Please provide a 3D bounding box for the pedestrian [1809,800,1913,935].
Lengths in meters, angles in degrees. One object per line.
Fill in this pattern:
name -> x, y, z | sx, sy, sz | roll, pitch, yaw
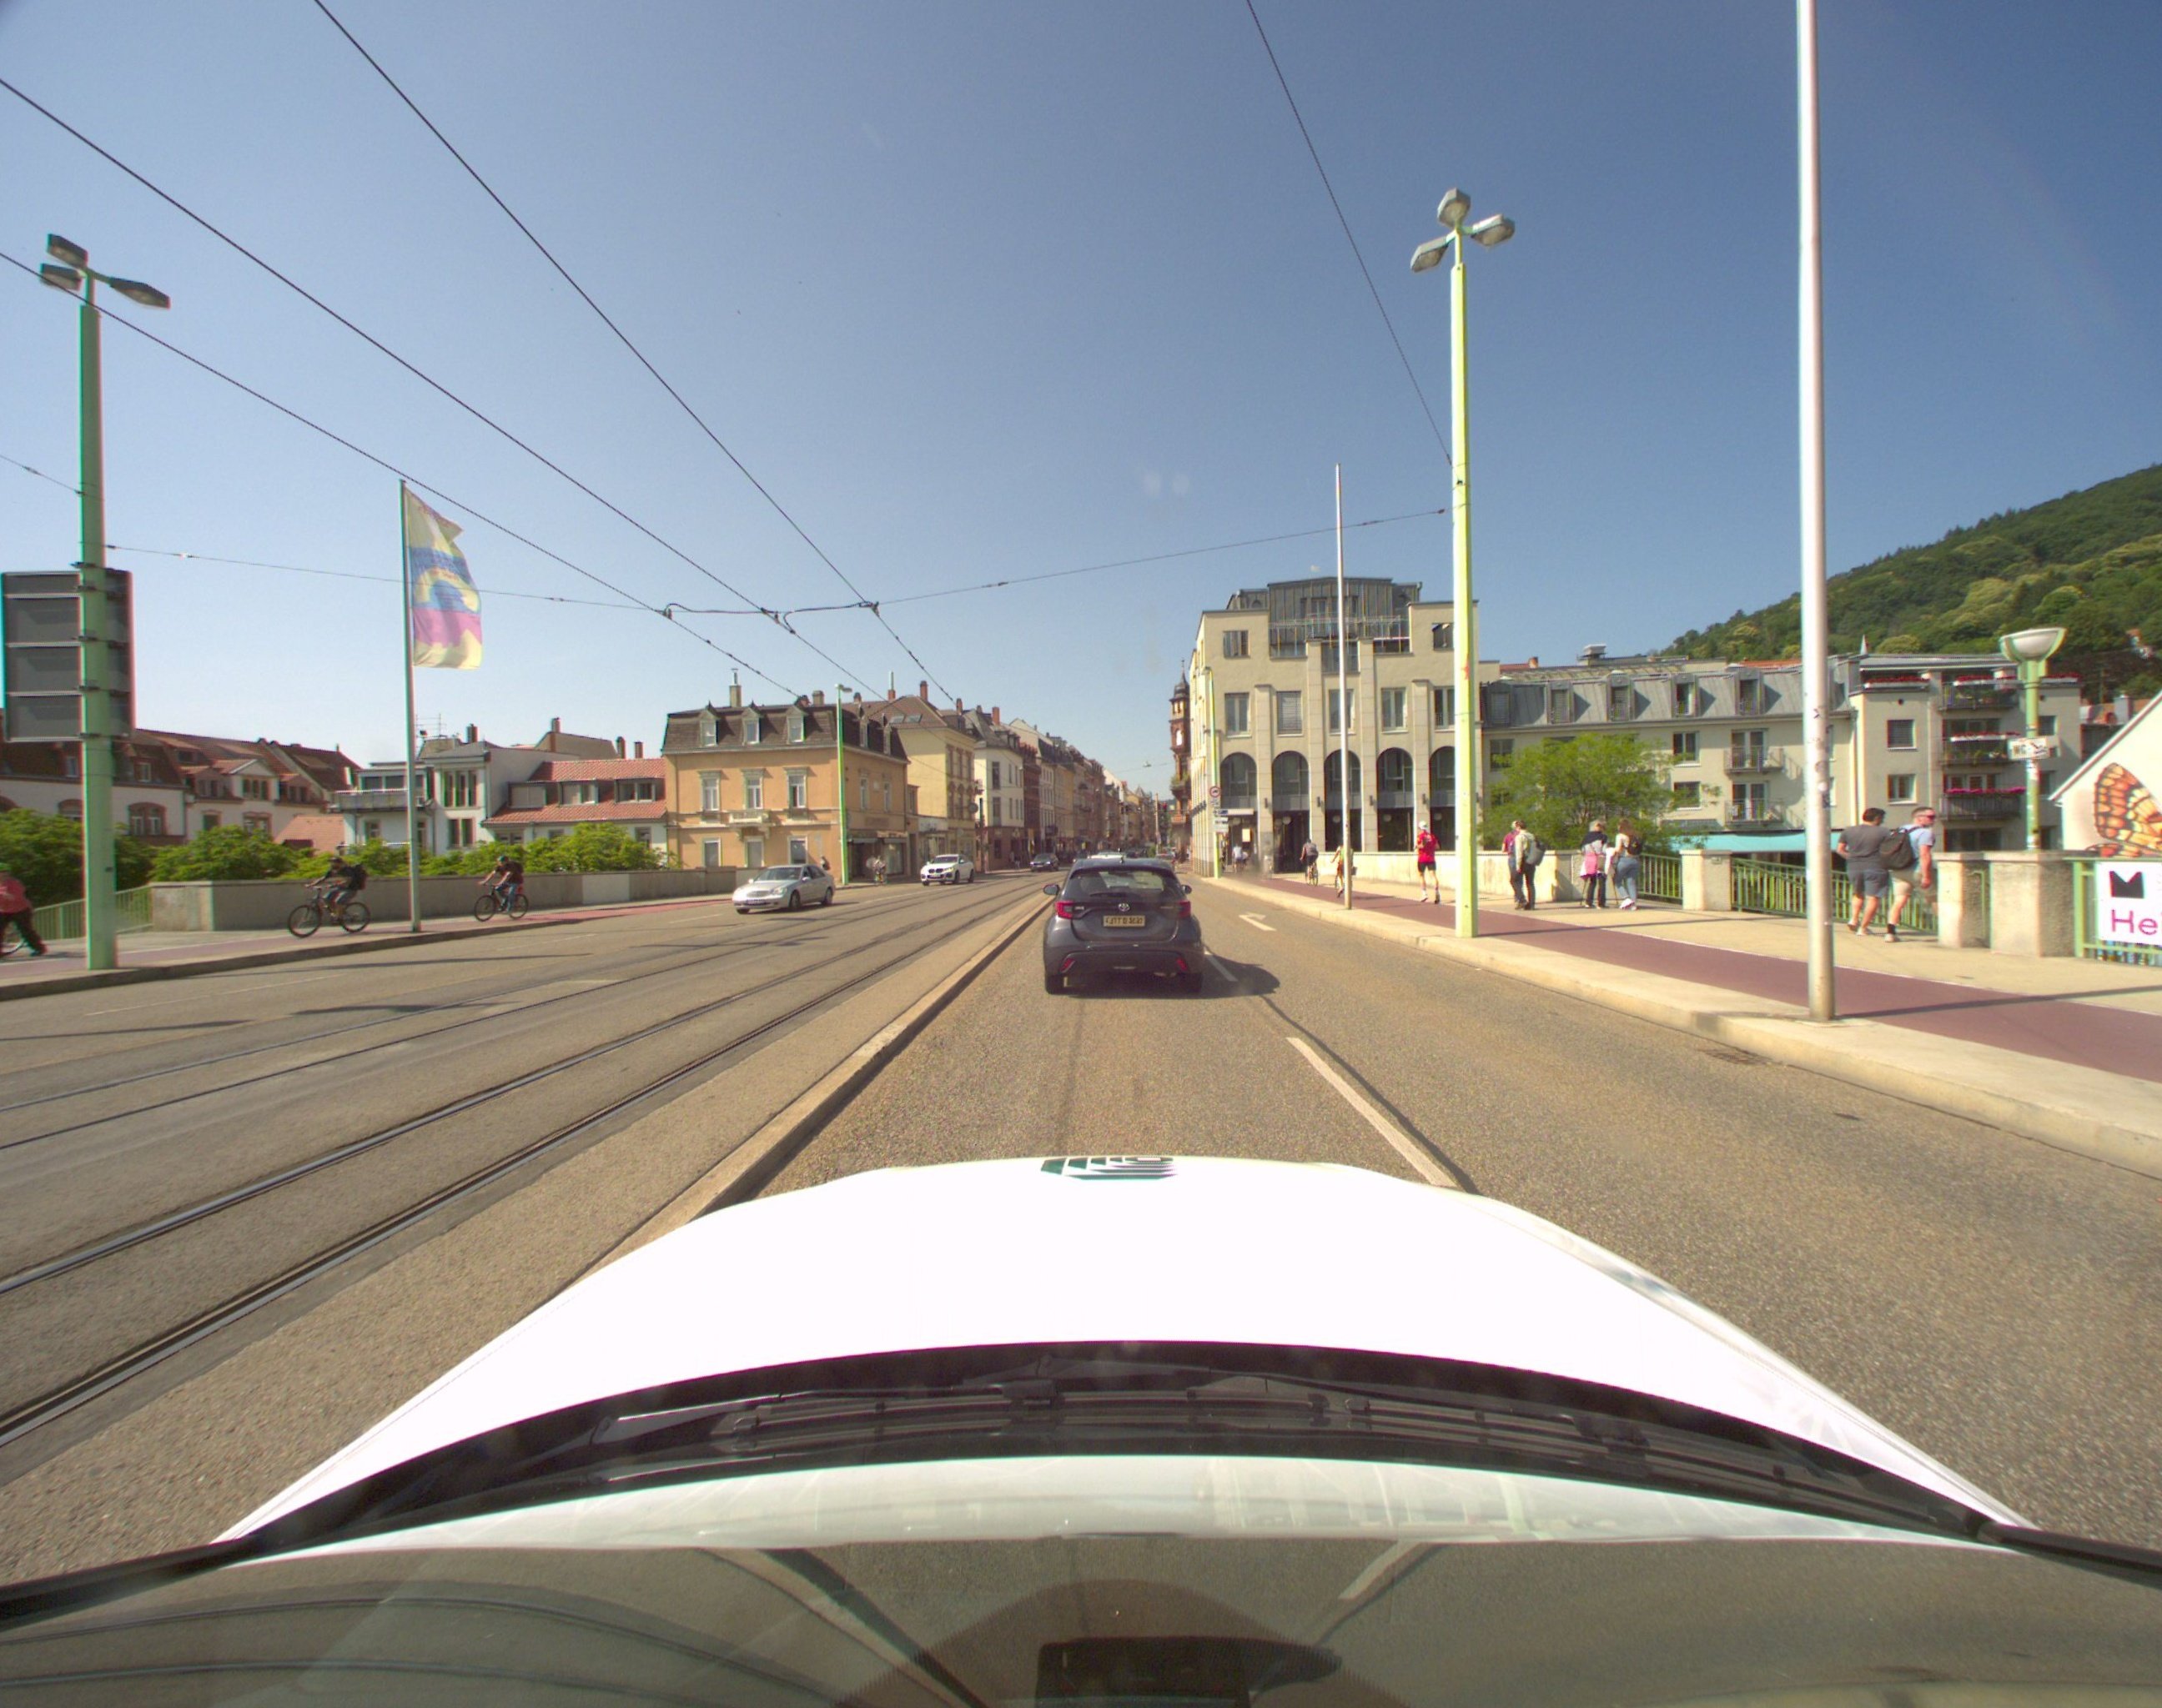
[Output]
pedestrian -> 10.556, 0.165, 11.019 | 1.019, 1.718, 0.734 | -3, 0, -32

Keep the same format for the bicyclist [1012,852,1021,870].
bicyclist -> -6.004, 0.625, 76.284 | 0.701, 1.650, 0.623 | 0, 1, 10

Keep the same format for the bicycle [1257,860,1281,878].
bicycle -> 8.463, 0.680, 36.729 | 0.592, 0.765, 1.866 | -2, 0, -1

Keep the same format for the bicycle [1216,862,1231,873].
bicycle -> 10.073, 0.946, 57.570 | 0.950, 0.765, 0.420 | -3, 0, 24

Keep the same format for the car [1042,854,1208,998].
car -> 0.499, 0.747, 10.263 | 1.713, 1.473, 3.659 | 0, 0, 1

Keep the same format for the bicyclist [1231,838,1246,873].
bicyclist -> 8.317, 0.092, 43.077 | 0.585, 1.820, 0.702 | -2, 0, -1

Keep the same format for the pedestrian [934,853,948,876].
pedestrian -> -10.417, 0.783, 60.489 | 0.757, 1.654, 0.713 | 3, 0, 10

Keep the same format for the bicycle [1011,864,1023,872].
bicycle -> -5.970, 1.285, 76.432 | 0.616, 0.716, 2.051 | 0, 1, 11

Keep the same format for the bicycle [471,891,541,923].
bicycle -> -15.597, 1.432, 22.135 | 0.618, 0.716, 1.732 | 0, 1, 2

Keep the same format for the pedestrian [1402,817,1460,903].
pedestrian -> 8.157, 0.135, 19.002 | 0.808, 1.924, 1.128 | -2, 0, 1

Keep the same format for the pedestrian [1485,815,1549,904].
pedestrian -> 9.243, 0.113, 17.303 | 0.736, 1.802, 1.016 | -3, 0, 1

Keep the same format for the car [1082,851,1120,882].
car -> 1.041, 0.607, 42.455 | 1.890, 1.530, 4.001 | 0, 0, 1

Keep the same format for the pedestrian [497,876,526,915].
pedestrian -> -17.363, 1.258, 24.842 | 0.409, 1.146, 0.546 | 3, 0, 14

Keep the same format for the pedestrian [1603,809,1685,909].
pedestrian -> 10.410, 0.092, 15.095 | 0.737, 1.746, 1.016 | -3, 0, 0

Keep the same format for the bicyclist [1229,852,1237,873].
bicyclist -> 10.028, 0.572, 53.795 | 0.420, 1.383, 0.444 | -3, 0, 1

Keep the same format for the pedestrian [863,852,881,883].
pedestrian -> -12.530, 0.794, 48.789 | 0.733, 1.766, 0.787 | 3, 0, 2

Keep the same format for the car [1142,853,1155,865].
car -> 12.133, 0.961, 145.748 | 1.983, 2.013, 4.007 | 3, 0, 6

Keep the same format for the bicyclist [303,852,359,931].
bicyclist -> -16.035, 0.794, 17.422 | 0.625, 1.650, 0.622 | 0, 1, 2

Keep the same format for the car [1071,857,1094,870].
car -> 0.151, 1.021, 90.567 | 1.982, 1.432, 4.010 | 0, 0, 8

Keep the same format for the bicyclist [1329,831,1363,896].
bicyclist -> 6.974, 0.242, 21.462 | 0.602, 1.650, 0.702 | -2, 0, 2

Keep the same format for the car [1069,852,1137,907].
car -> 0.666, 0.711, 24.575 | 1.890, 1.530, 4.001 | 0, 0, 1

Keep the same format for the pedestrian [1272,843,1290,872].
pedestrian -> 11.586, 0.223, 47.288 | 0.736, 1.615, 1.016 | 3, 0, 1

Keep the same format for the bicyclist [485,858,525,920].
bicyclist -> -15.590, 0.933, 22.046 | 0.625, 1.650, 0.622 | 0, 1, 2

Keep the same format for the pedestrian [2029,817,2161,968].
pedestrian -> 13.186, 0.455, 10.302 | 1.201, 1.777, 0.979 | -3, 0, -3

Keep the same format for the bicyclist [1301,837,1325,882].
bicyclist -> 8.248, 0.206, 28.999 | 0.585, 1.559, 0.702 | -2, 0, -1

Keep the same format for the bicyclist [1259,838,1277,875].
bicyclist -> 8.446, 0.116, 36.754 | 0.585, 1.650, 0.702 | -2, 0, -1

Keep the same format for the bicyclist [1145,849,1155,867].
bicyclist -> 9.587, 0.570, 113.671 | 1.222, 2.528, 1.107 | 3, 0, 6

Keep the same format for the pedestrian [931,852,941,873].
pedestrian -> -11.601, 0.672, 65.124 | 0.646, 1.602, 0.566 | 3, 2, 2

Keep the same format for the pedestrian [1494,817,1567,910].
pedestrian -> 8.750, 0.171, 15.896 | 0.752, 1.718, 1.073 | -3, 0, 1

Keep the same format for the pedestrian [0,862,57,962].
pedestrian -> -17.829, 0.957, 13.690 | 0.410, 1.632, 0.627 | 1, 0, 0

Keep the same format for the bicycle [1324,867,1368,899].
bicycle -> 7.005, 0.757, 21.628 | 0.591, 0.765, 1.867 | -2, 0, 2

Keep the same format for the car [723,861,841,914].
car -> -9.129, 0.965, 25.277 | 1.723, 1.460, 4.379 | -1, 0, 4

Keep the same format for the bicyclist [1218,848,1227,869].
bicyclist -> 10.022, 0.334, 57.572 | 0.438, 1.466, 0.488 | -3, 0, 23

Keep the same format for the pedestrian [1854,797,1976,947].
pedestrian -> 10.124, 0.197, 9.895 | 1.018, 1.718, 0.735 | -2, 0, -27

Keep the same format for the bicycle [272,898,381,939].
bicycle -> -16.040, 1.357, 17.375 | 0.618, 0.716, 1.772 | 0, 1, 2

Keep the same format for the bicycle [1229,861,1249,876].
bicycle -> 8.342, 0.764, 43.048 | 0.592, 0.765, 1.866 | -2, 0, -1

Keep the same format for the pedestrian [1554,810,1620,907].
pedestrian -> 9.732, 0.089, 15.699 | 0.734, 1.777, 1.020 | -3, 0, 14

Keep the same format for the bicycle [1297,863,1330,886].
bicycle -> 8.265, 0.714, 29.040 | 0.592, 0.765, 1.830 | -2, 0, -1

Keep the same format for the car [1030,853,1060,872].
car -> -3.004, 0.702, 68.719 | 1.783, 1.545, 3.931 | -2, 0, 9

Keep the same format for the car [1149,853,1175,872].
car -> 6.202, 0.634, 62.797 | 1.699, 1.466, 4.327 | 0, 0, 1

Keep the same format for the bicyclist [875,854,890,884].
bicyclist -> -11.110, 0.836, 45.618 | 0.623, 1.650, 0.623 | 0, 1, 10

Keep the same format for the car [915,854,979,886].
car -> -7.195, 0.806, 44.250 | 1.981, 1.586, 4.665 | -2, 0, 10

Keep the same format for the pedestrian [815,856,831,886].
pedestrian -> -14.278, 0.912, 45.049 | 0.646, 1.602, 0.566 | 3, 2, 2

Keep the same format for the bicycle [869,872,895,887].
bicycle -> -11.127, 1.422, 45.573 | 0.616, 0.716, 2.051 | 0, 1, 11

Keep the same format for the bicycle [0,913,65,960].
bicycle -> -18.366, 1.416, 13.497 | 0.618, 0.716, 1.934 | 0, 1, 0
